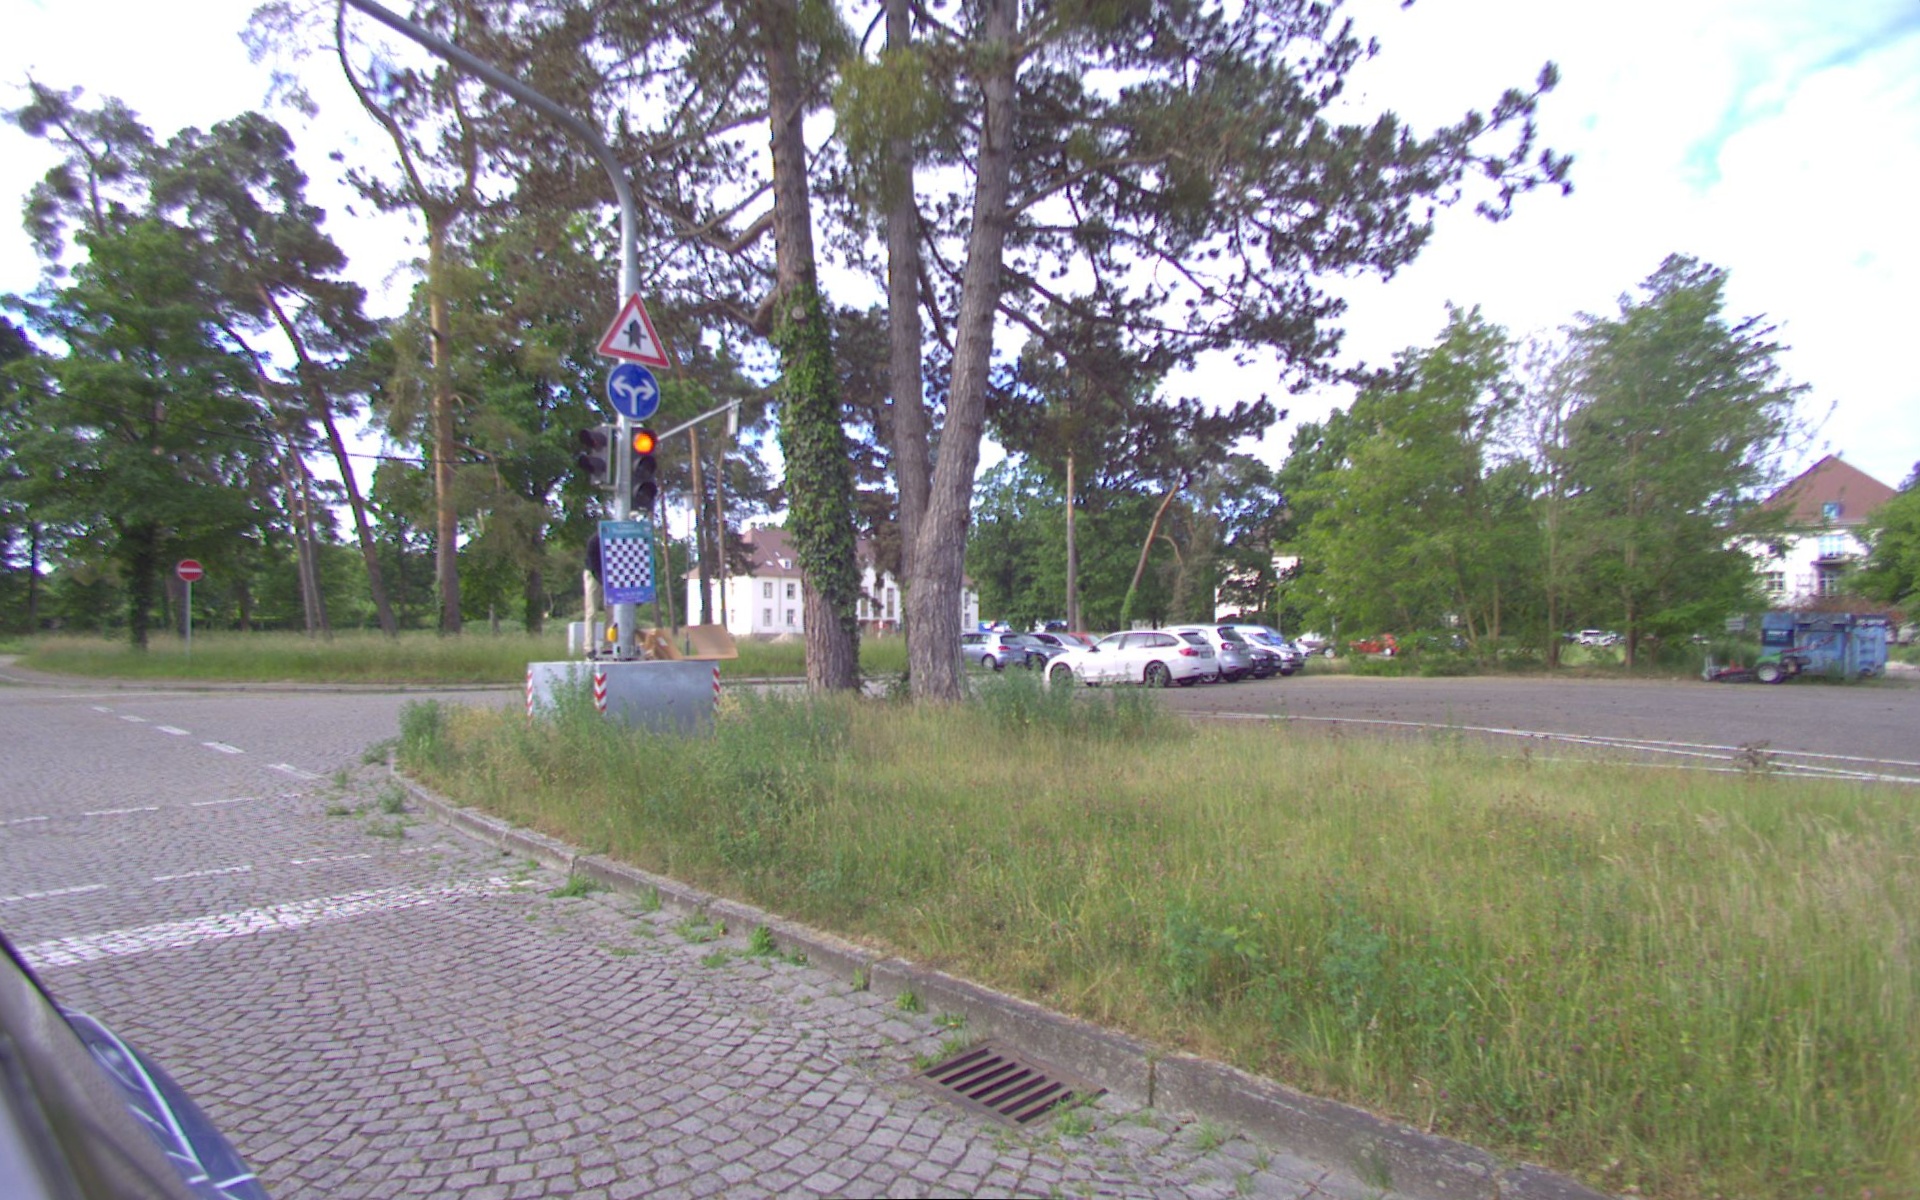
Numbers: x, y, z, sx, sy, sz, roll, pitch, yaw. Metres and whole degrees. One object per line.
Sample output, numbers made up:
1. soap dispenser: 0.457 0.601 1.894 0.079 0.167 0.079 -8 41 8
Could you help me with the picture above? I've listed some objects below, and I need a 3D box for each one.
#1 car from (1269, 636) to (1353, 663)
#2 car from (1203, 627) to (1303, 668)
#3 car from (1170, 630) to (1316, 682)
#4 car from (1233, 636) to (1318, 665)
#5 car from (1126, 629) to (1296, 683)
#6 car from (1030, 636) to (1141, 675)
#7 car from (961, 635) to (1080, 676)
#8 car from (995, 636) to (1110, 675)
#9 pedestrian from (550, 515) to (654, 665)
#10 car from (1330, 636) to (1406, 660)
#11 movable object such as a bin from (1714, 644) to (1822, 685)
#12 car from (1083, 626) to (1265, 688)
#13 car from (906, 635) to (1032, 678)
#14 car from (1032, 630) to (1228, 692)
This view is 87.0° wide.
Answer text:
1. car: 21.785 3.080 62.964 4.580 1.533 1.817 -4 -4 39
2. car: 16.196 2.638 56.151 4.978 2.113 1.816 -4 -4 41
3. car: 8.990 1.806 32.356 4.112 1.533 1.714 -4 -4 42
4. car: 18.040 2.891 58.015 4.284 1.533 1.727 -4 -4 39
5. car: 7.407 1.690 30.136 4.583 1.480 1.815 -4 -4 42
6. car: 5.471 2.449 44.474 4.580 1.571 1.817 -4 -4 39
7. car: 2.376 2.254 40.544 4.580 1.533 1.817 -4 -4 39
8. car: 3.864 2.340 42.727 4.580 1.533 1.817 -4 -4 39
9. pedestrian: -3.856 -0.081 10.893 0.869 1.529 0.824 1 -3 -34
10. car: 28.426 3.340 70.622 4.580 1.533 1.817 -4 -4 39
11. movable object such as a bin: 19.455 1.536 24.429 1.931 0.940 1.029 -2 -3 35
12. car: 5.848 1.599 28.025 4.580 1.590 1.817 -4 -4 39
13. car: 0.309 2.178 38.787 4.572 1.559 1.820 -4 -4 34
14. car: 4.291 1.586 25.960 4.650 1.461 1.817 -4 -4 39
